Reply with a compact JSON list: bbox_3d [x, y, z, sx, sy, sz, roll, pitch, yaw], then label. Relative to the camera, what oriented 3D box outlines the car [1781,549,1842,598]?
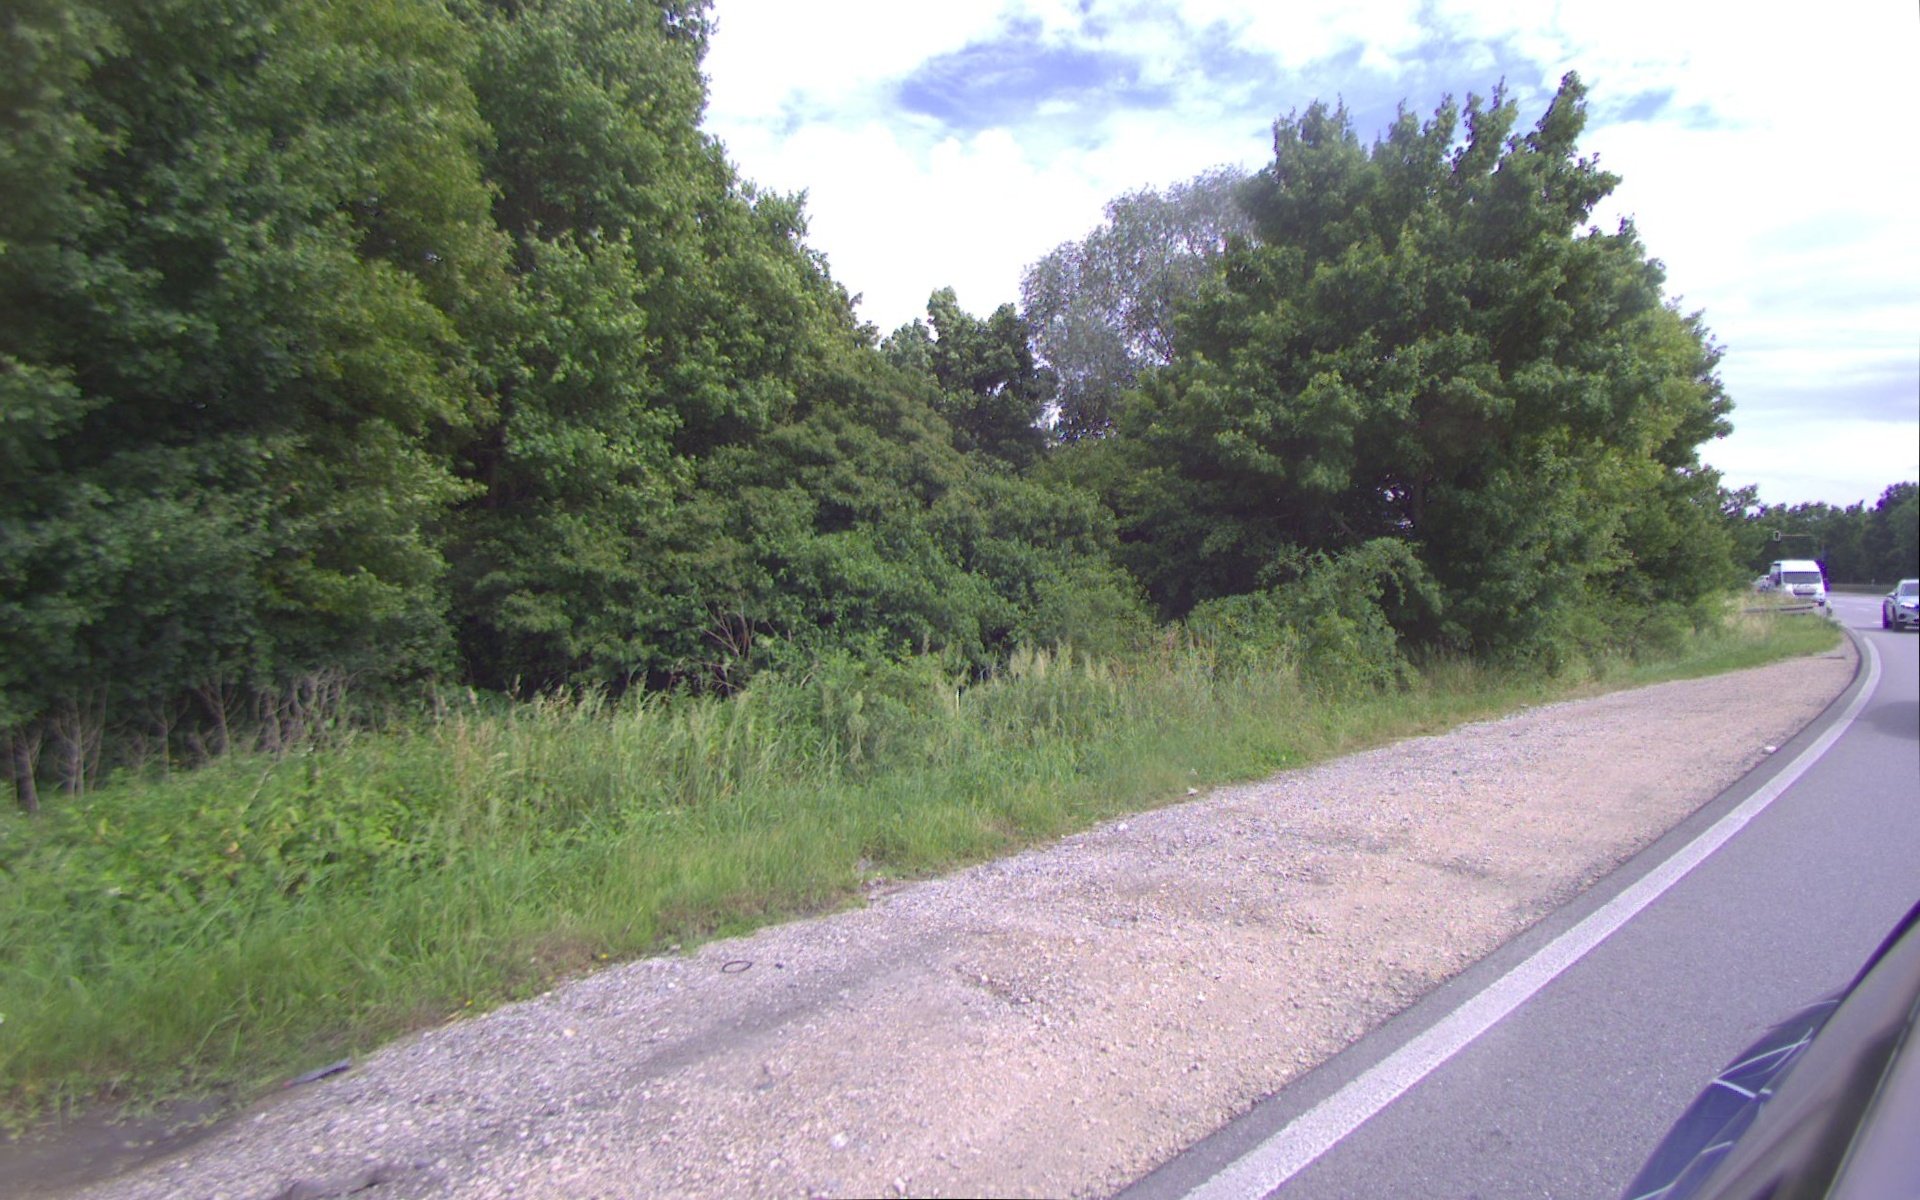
[{"bbox_3d":[50.695,-1.505,60.324,2.205,2.704,5.174,-1,-1,34],"label":"car"}]

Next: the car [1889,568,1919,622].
[{"bbox_3d":[30.688,-0.169,31.660,2.011,1.633,4.223,0,1,37],"label":"car"}]
